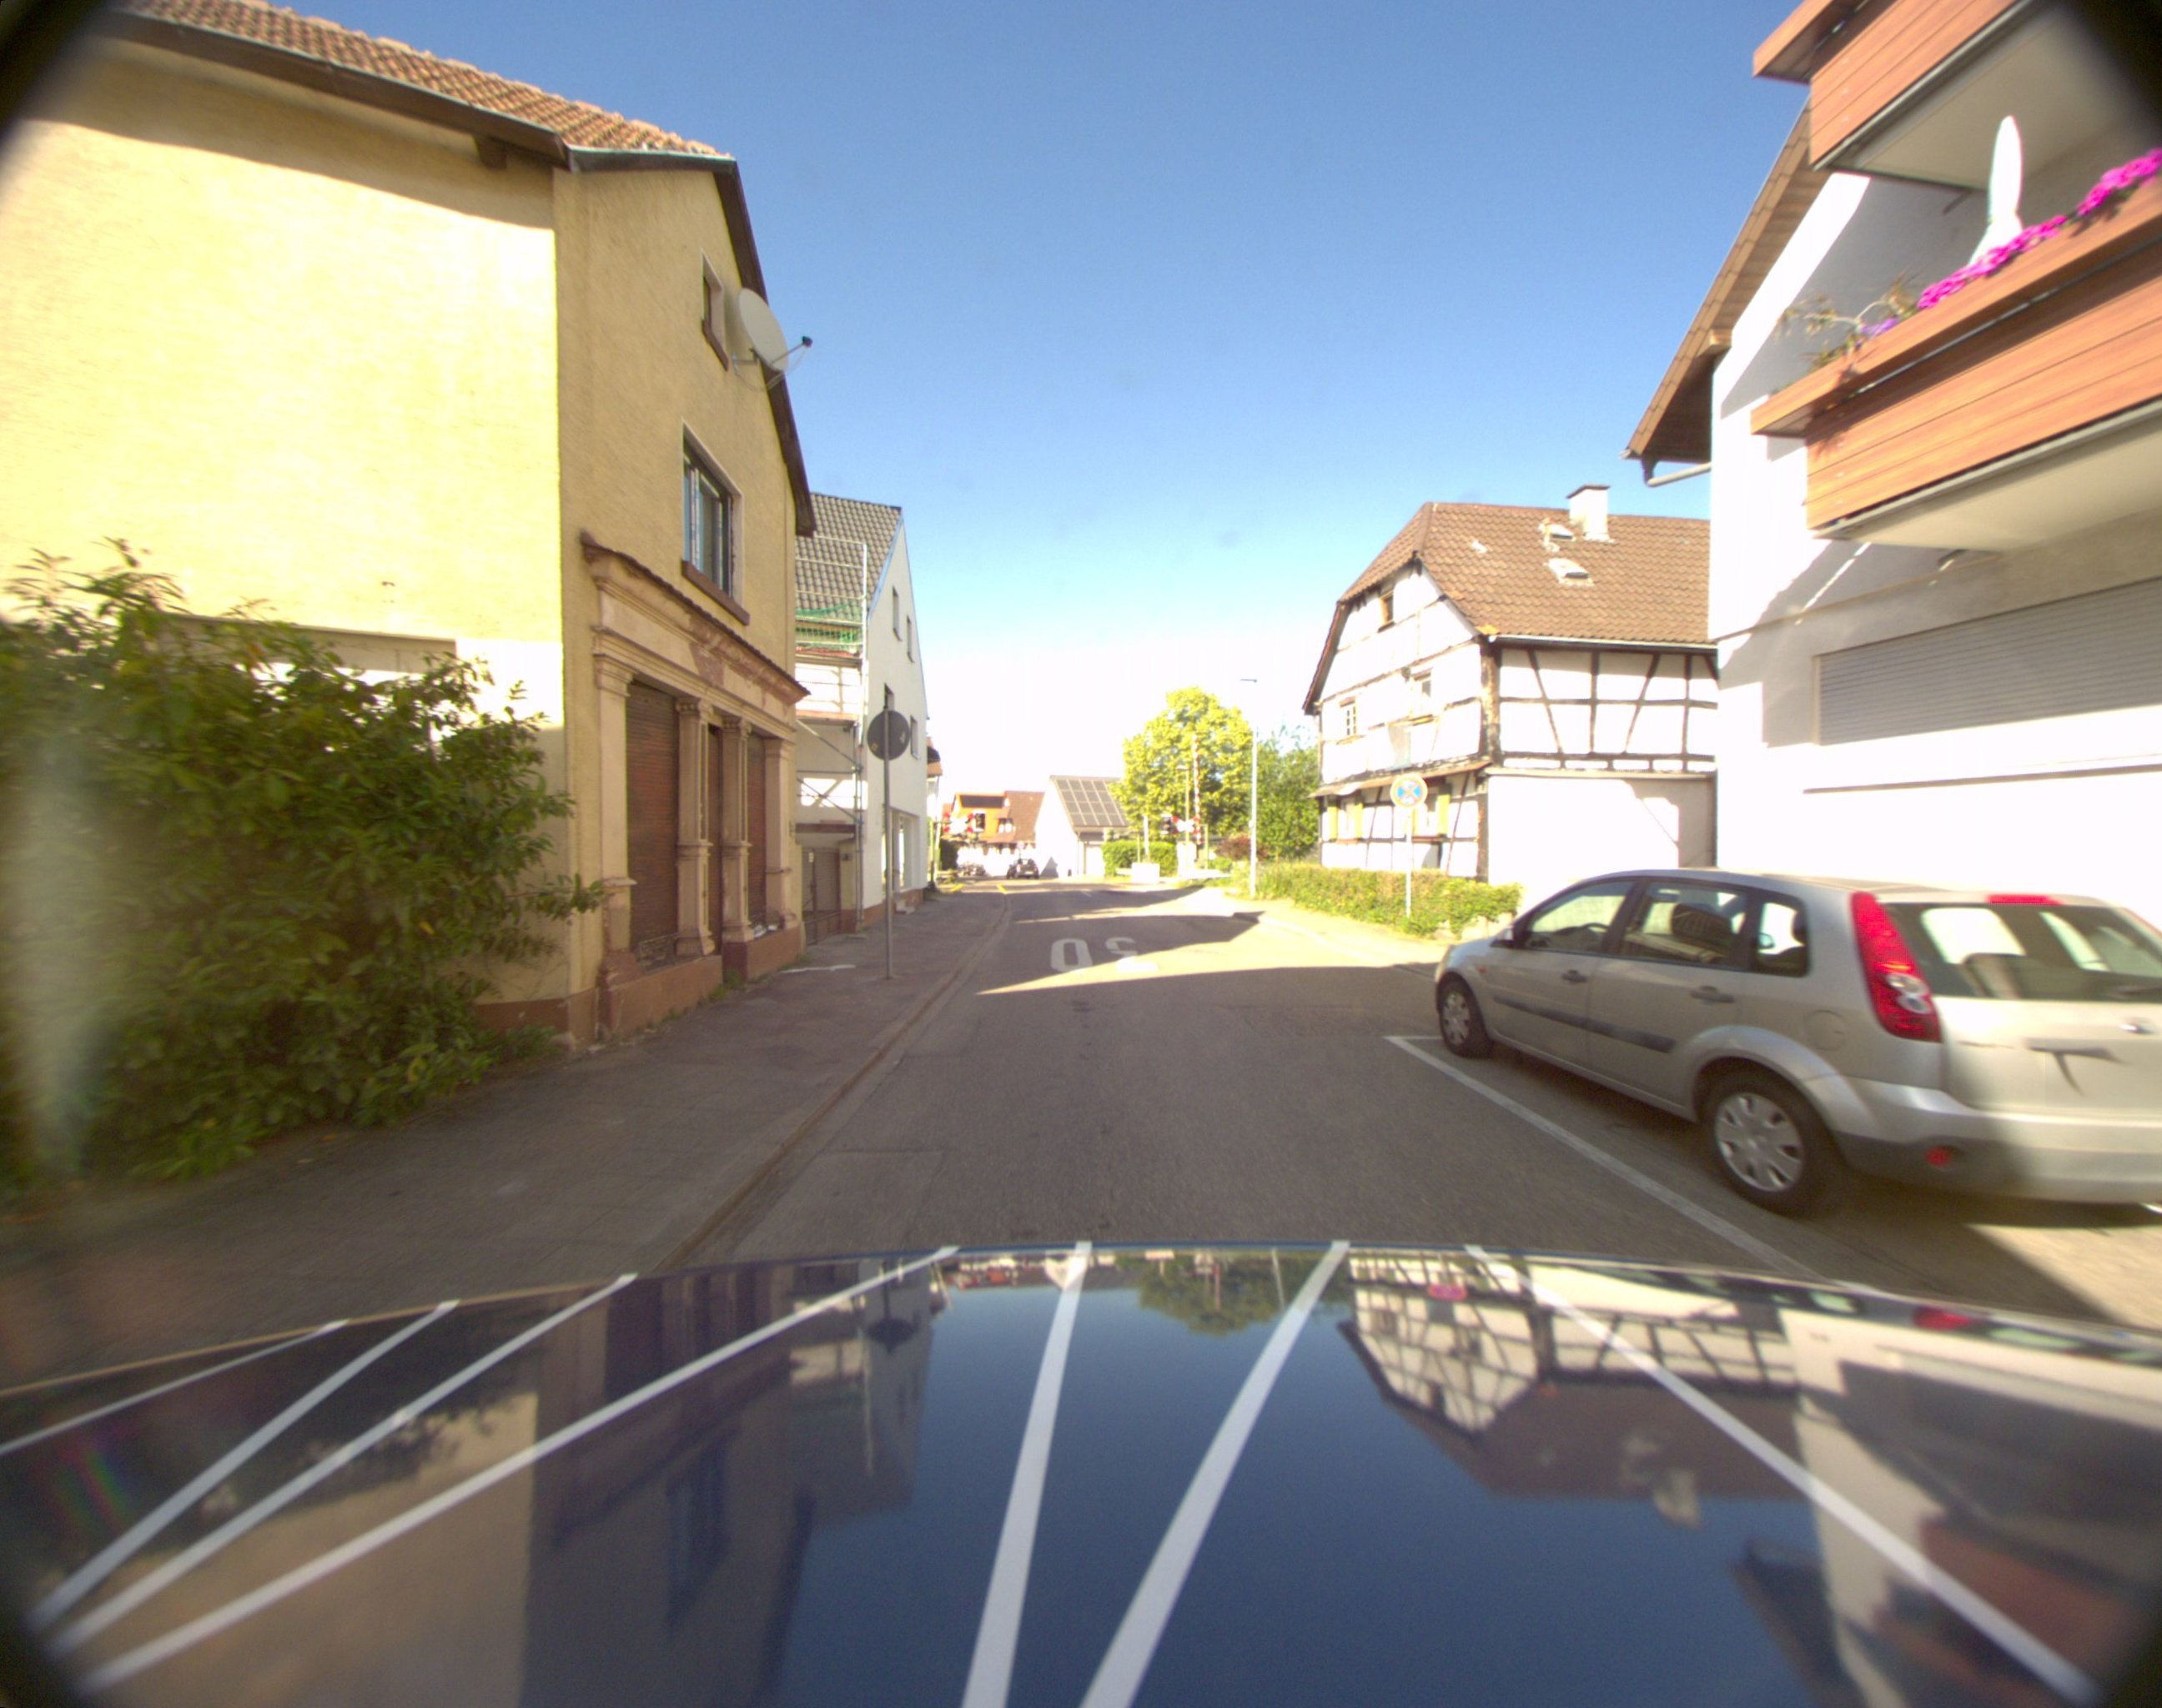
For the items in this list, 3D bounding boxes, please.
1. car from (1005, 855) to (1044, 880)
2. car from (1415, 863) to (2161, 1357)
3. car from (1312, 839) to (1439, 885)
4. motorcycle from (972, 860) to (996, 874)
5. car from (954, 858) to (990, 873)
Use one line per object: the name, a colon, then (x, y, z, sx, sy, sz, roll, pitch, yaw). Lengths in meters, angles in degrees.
car: (-4.039, 0.921, 53.516, 1.693, 1.502, 3.647, -3, 2, -21)
car: (3.627, 0.850, 4.326, 1.635, 1.497, 3.852, 2, 0, -1)
car: (10.760, 0.293, 27.895, 3.988, 1.555, 1.692, -1, 2, 40)
motorcycle: (-8.704, 1.172, 68.214, 1.990, 1.224, 0.627, -1, 0, 18)
car: (-10.269, 1.059, 71.351, 1.853, 1.398, 5.025, 0, 0, -26)
